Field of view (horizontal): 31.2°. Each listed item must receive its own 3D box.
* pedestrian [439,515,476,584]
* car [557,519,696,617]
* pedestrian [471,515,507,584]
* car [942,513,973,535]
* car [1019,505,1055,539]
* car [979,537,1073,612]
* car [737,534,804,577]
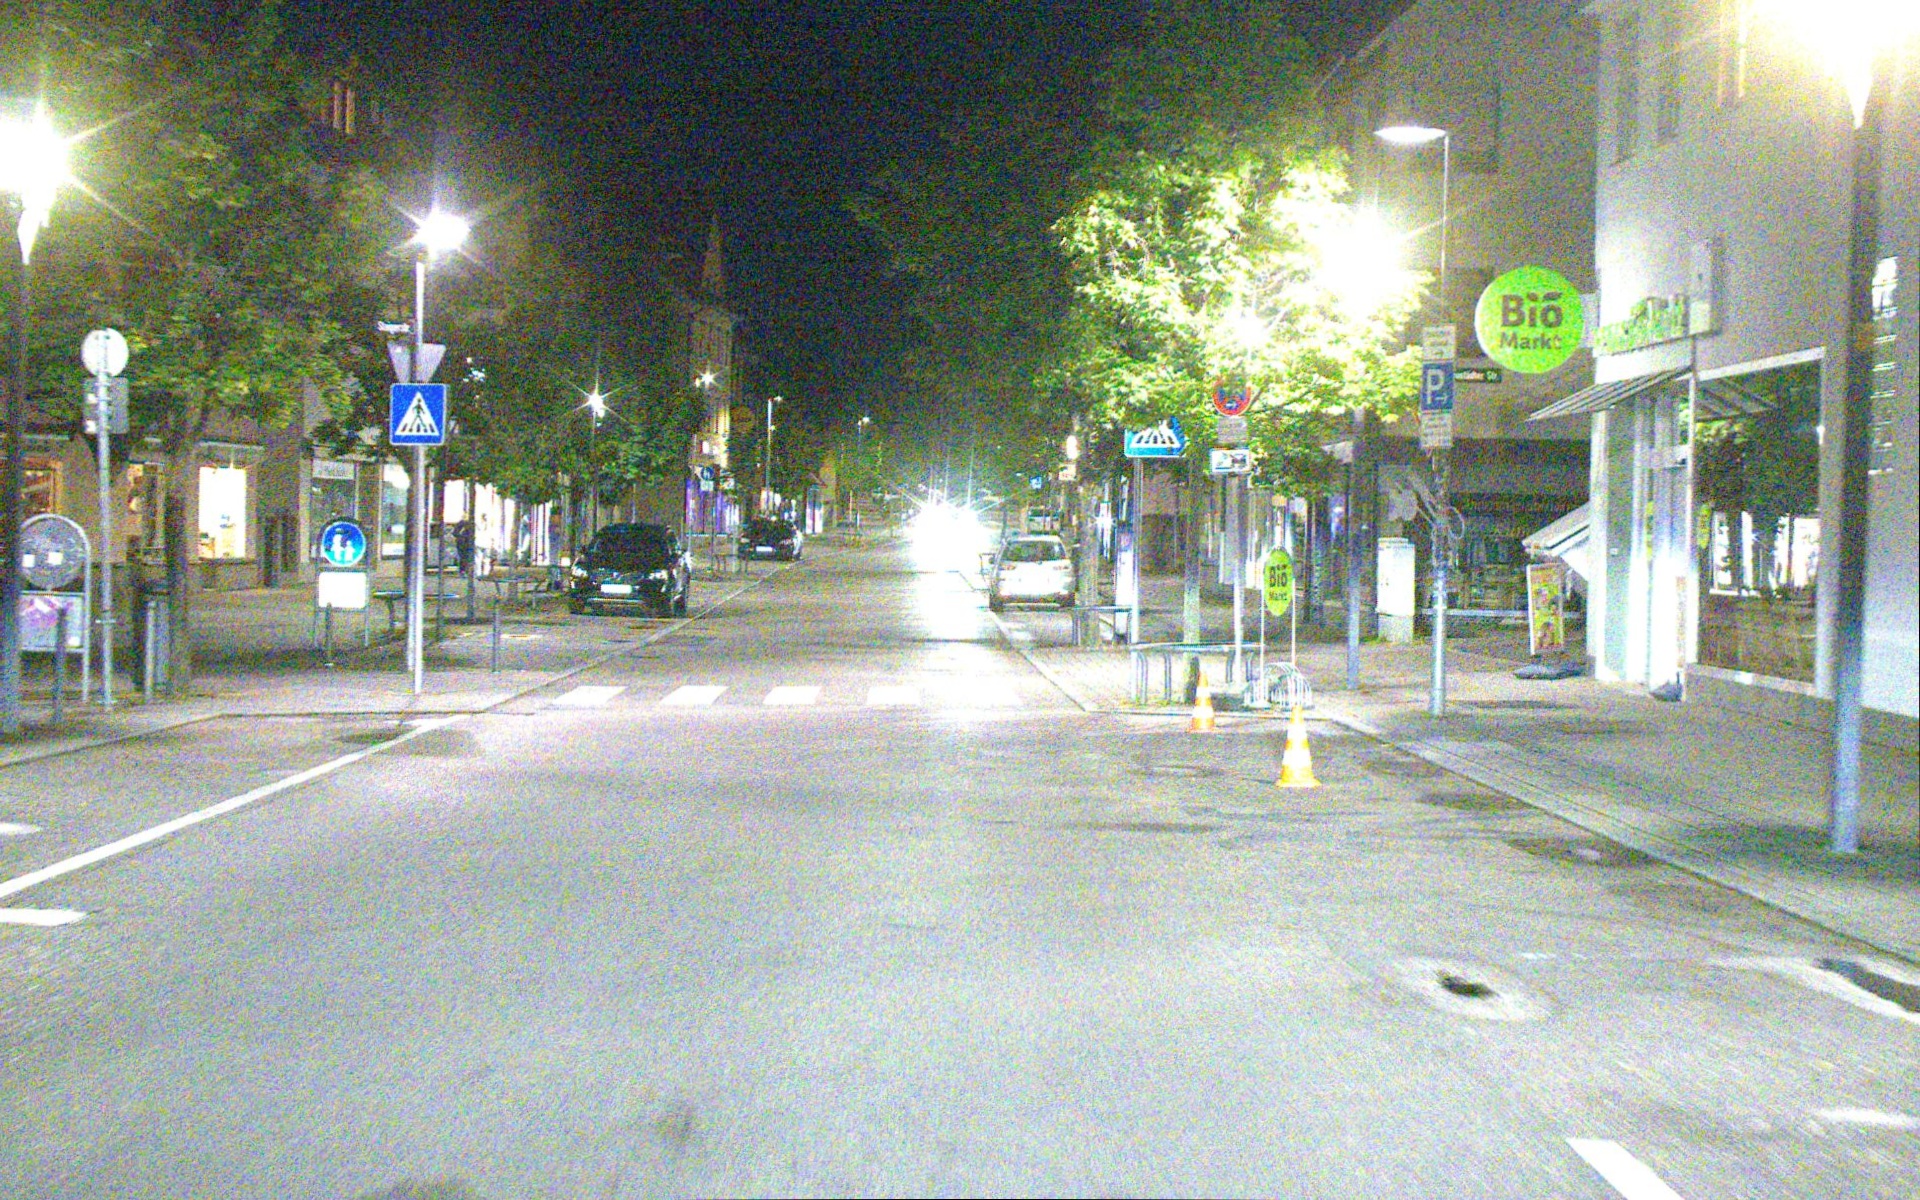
[{"bbox_3d":[-12.336,-1.251,84.430,0.769,1.650,0.817,1,3,1],"label":"pedestrian"},{"bbox_3d":[-6.157,-0.629,64.022,2.018,1.685,5.003,2,1,0],"label":"car"},{"bbox_3d":[-11.556,-1.235,84.413,0.769,1.650,0.782,1,3,1],"label":"pedestrian"},{"bbox_3d":[-0.126,-4.496,203.736,1.723,1.242,4.237,1,1,1],"label":"car"},{"bbox_3d":[3.842,-3.909,171.483,1.775,1.646,4.364,1,2,1],"label":"car"},{"bbox_3d":[1.310,-0.536,69.586,1.674,1.454,3.676,1,1,-2],"label":"car"},{"bbox_3d":[-6.493,-1.544,118.145,1.914,1.366,4.457,1,2,1],"label":"car"}]
